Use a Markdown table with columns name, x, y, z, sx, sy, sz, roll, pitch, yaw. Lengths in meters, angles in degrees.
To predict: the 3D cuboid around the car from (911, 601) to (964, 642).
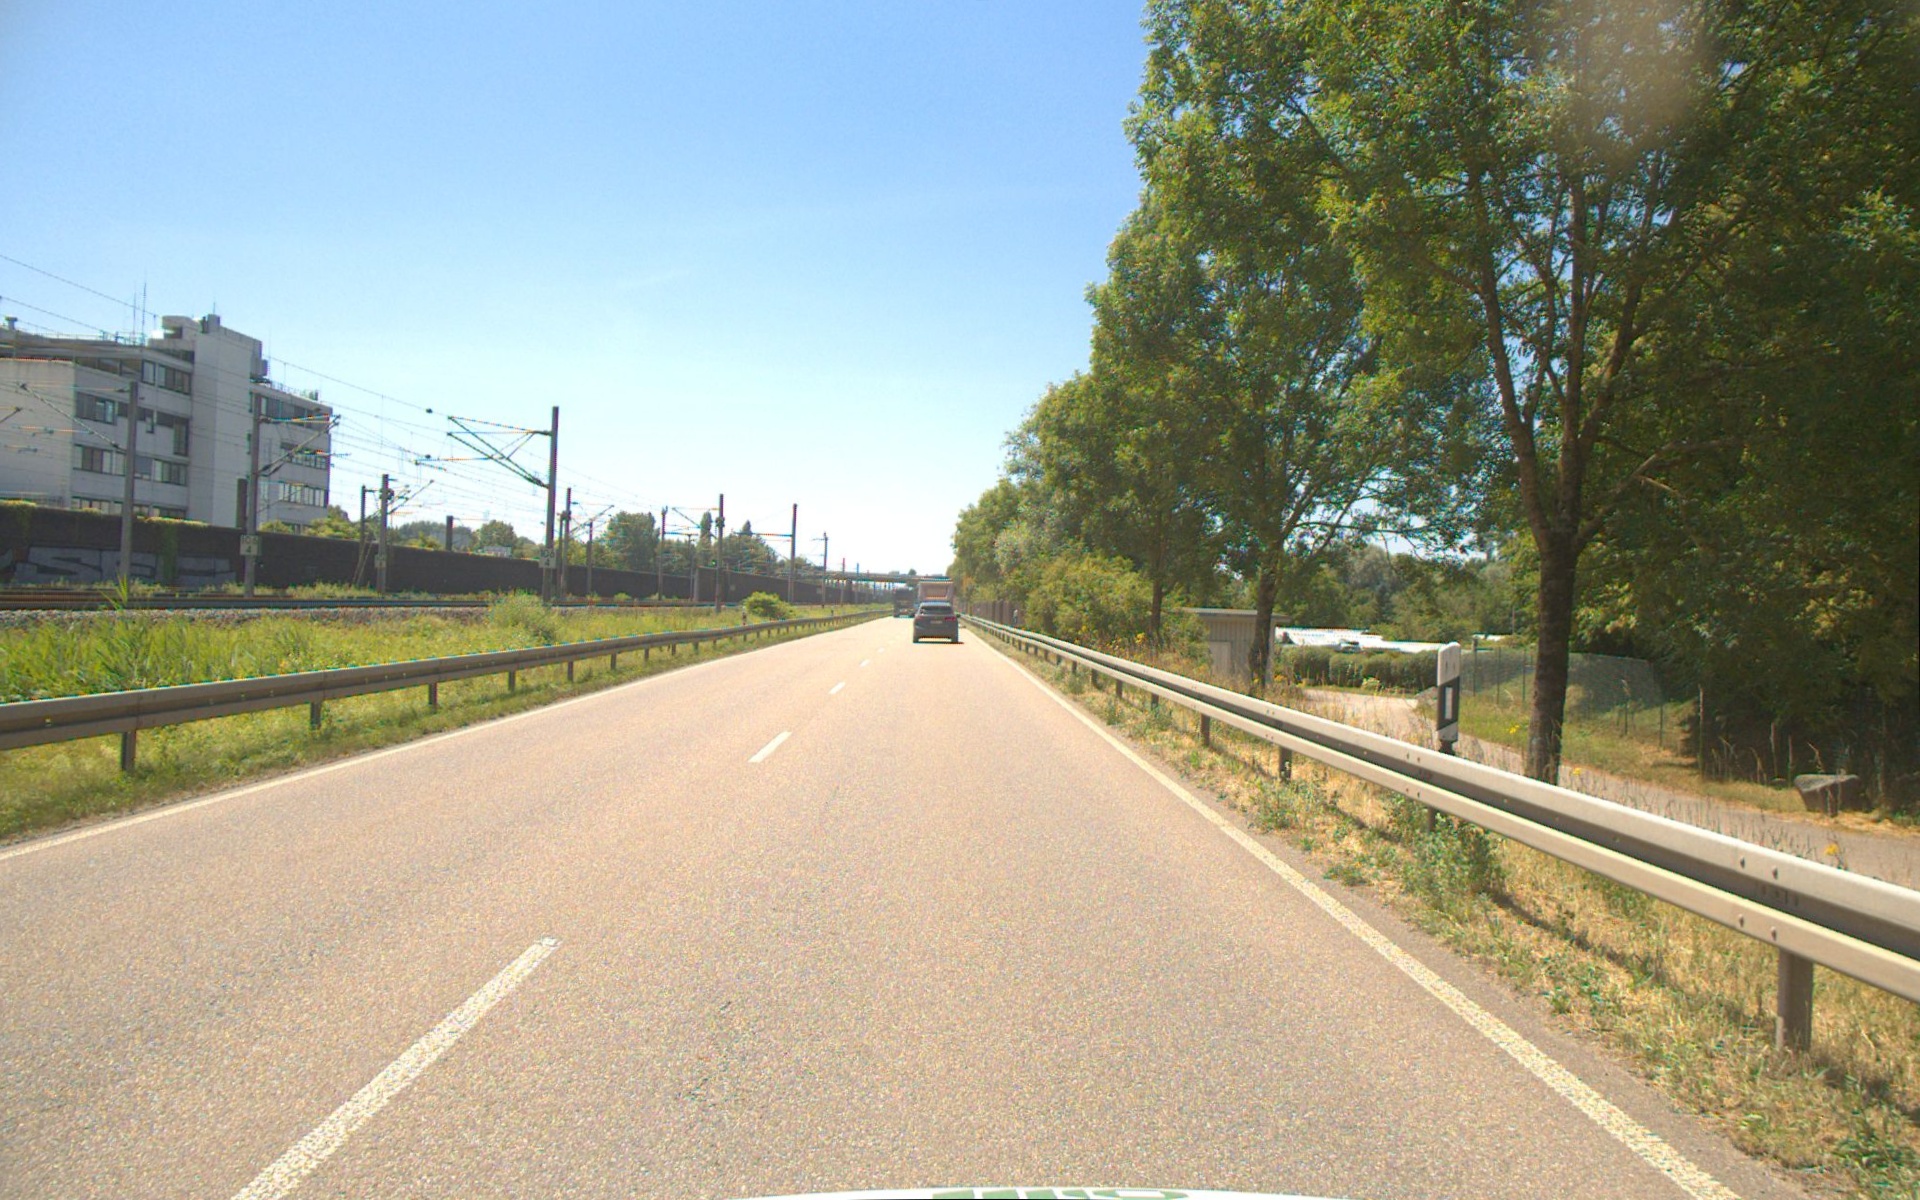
| name | x | y | z | sx | sy | sz | roll | pitch | yaw |
| --- | --- | --- | --- | --- | --- | --- | --- | --- | --- |
| car | -0.924 | 0.836 | 65.705 | 1.954 | 1.534 | 3.998 | 0 | 0 | -3 |

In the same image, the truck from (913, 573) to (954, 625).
| name | x | y | z | sx | sy | sz | roll | pitch | yaw |
| --- | --- | --- | --- | --- | --- | --- | --- | --- | --- |
| truck | -1.909 | -0.057 | 118.359 | 2.714 | 3.485 | 10.817 | 1 | 0 | -1 |

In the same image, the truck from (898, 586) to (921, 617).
| name | x | y | z | sx | sy | sz | roll | pitch | yaw |
| --- | --- | --- | --- | --- | --- | --- | --- | --- | --- |
| truck | -6.149 | 0.160 | 201.827 | 2.604 | 3.690 | 10.973 | 1 | 0 | -2 |
